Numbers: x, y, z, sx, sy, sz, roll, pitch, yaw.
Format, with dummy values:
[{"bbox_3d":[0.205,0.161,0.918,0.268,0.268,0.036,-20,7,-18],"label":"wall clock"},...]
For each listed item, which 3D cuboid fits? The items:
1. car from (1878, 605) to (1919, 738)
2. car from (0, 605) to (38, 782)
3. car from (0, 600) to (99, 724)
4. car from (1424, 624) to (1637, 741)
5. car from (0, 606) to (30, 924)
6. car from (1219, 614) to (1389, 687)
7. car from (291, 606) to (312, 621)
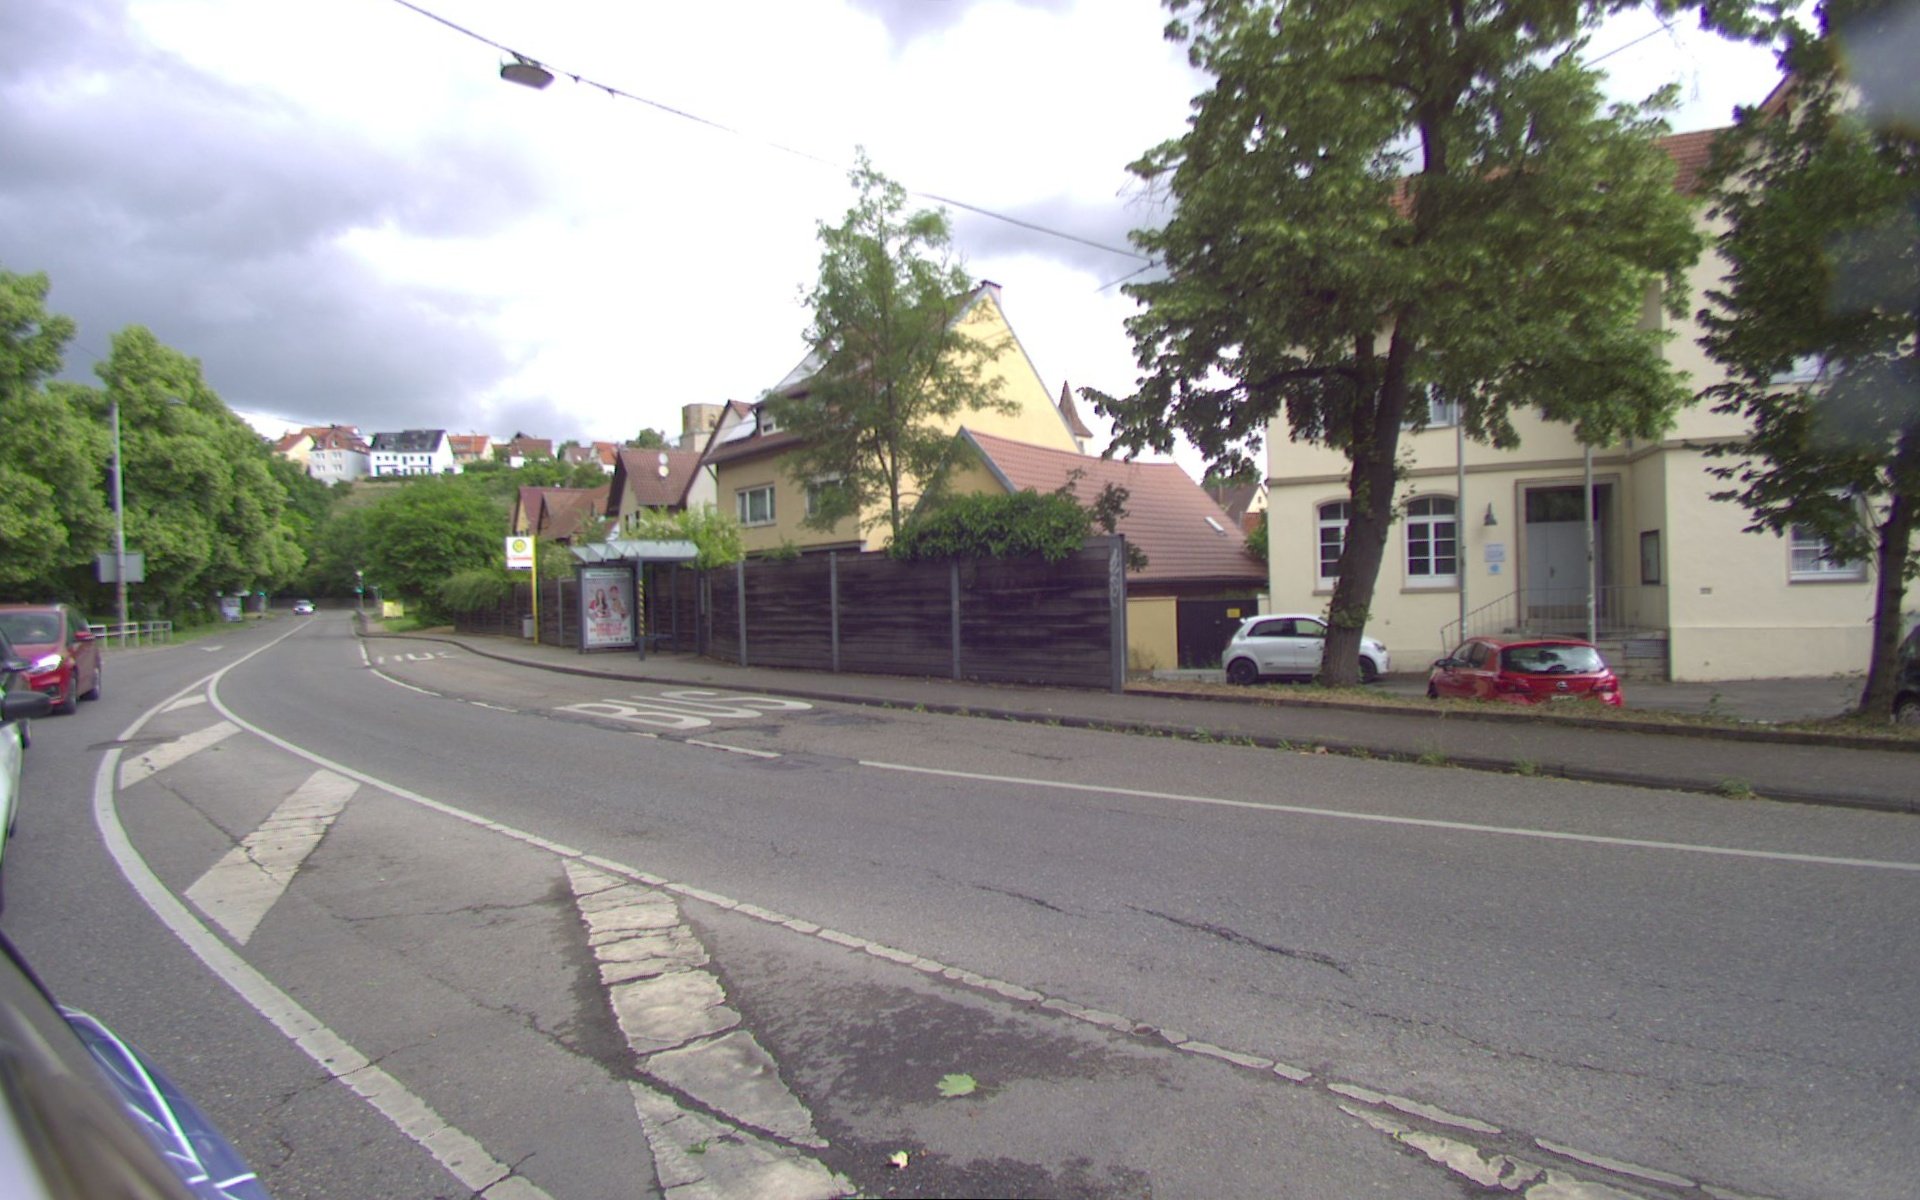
[{"bbox_3d":[12.700,0.888,11.588,1.586,1.644,3.093,-1,0,2],"label":"car"},{"bbox_3d":[-10.224,0.853,9.857,1.699,1.559,3.787,-1,0,-41],"label":"car"},{"bbox_3d":[-14.509,0.878,15.441,1.800,1.685,4.067,-1,0,-37],"label":"car"},{"bbox_3d":[8.127,1.104,14.771,1.590,1.389,3.544,-1,0,10],"label":"car"},{"bbox_3d":[-6.031,0.816,5.278,1.594,1.525,3.610,-1,0,-41],"label":"car"},{"bbox_3d":[7.747,1.108,22.927,3.487,1.528,1.581,-1,0,20],"label":"car"},{"bbox_3d":[-76.898,1.536,118.137,1.817,1.652,4.009,-1,0,-37],"label":"car"}]
